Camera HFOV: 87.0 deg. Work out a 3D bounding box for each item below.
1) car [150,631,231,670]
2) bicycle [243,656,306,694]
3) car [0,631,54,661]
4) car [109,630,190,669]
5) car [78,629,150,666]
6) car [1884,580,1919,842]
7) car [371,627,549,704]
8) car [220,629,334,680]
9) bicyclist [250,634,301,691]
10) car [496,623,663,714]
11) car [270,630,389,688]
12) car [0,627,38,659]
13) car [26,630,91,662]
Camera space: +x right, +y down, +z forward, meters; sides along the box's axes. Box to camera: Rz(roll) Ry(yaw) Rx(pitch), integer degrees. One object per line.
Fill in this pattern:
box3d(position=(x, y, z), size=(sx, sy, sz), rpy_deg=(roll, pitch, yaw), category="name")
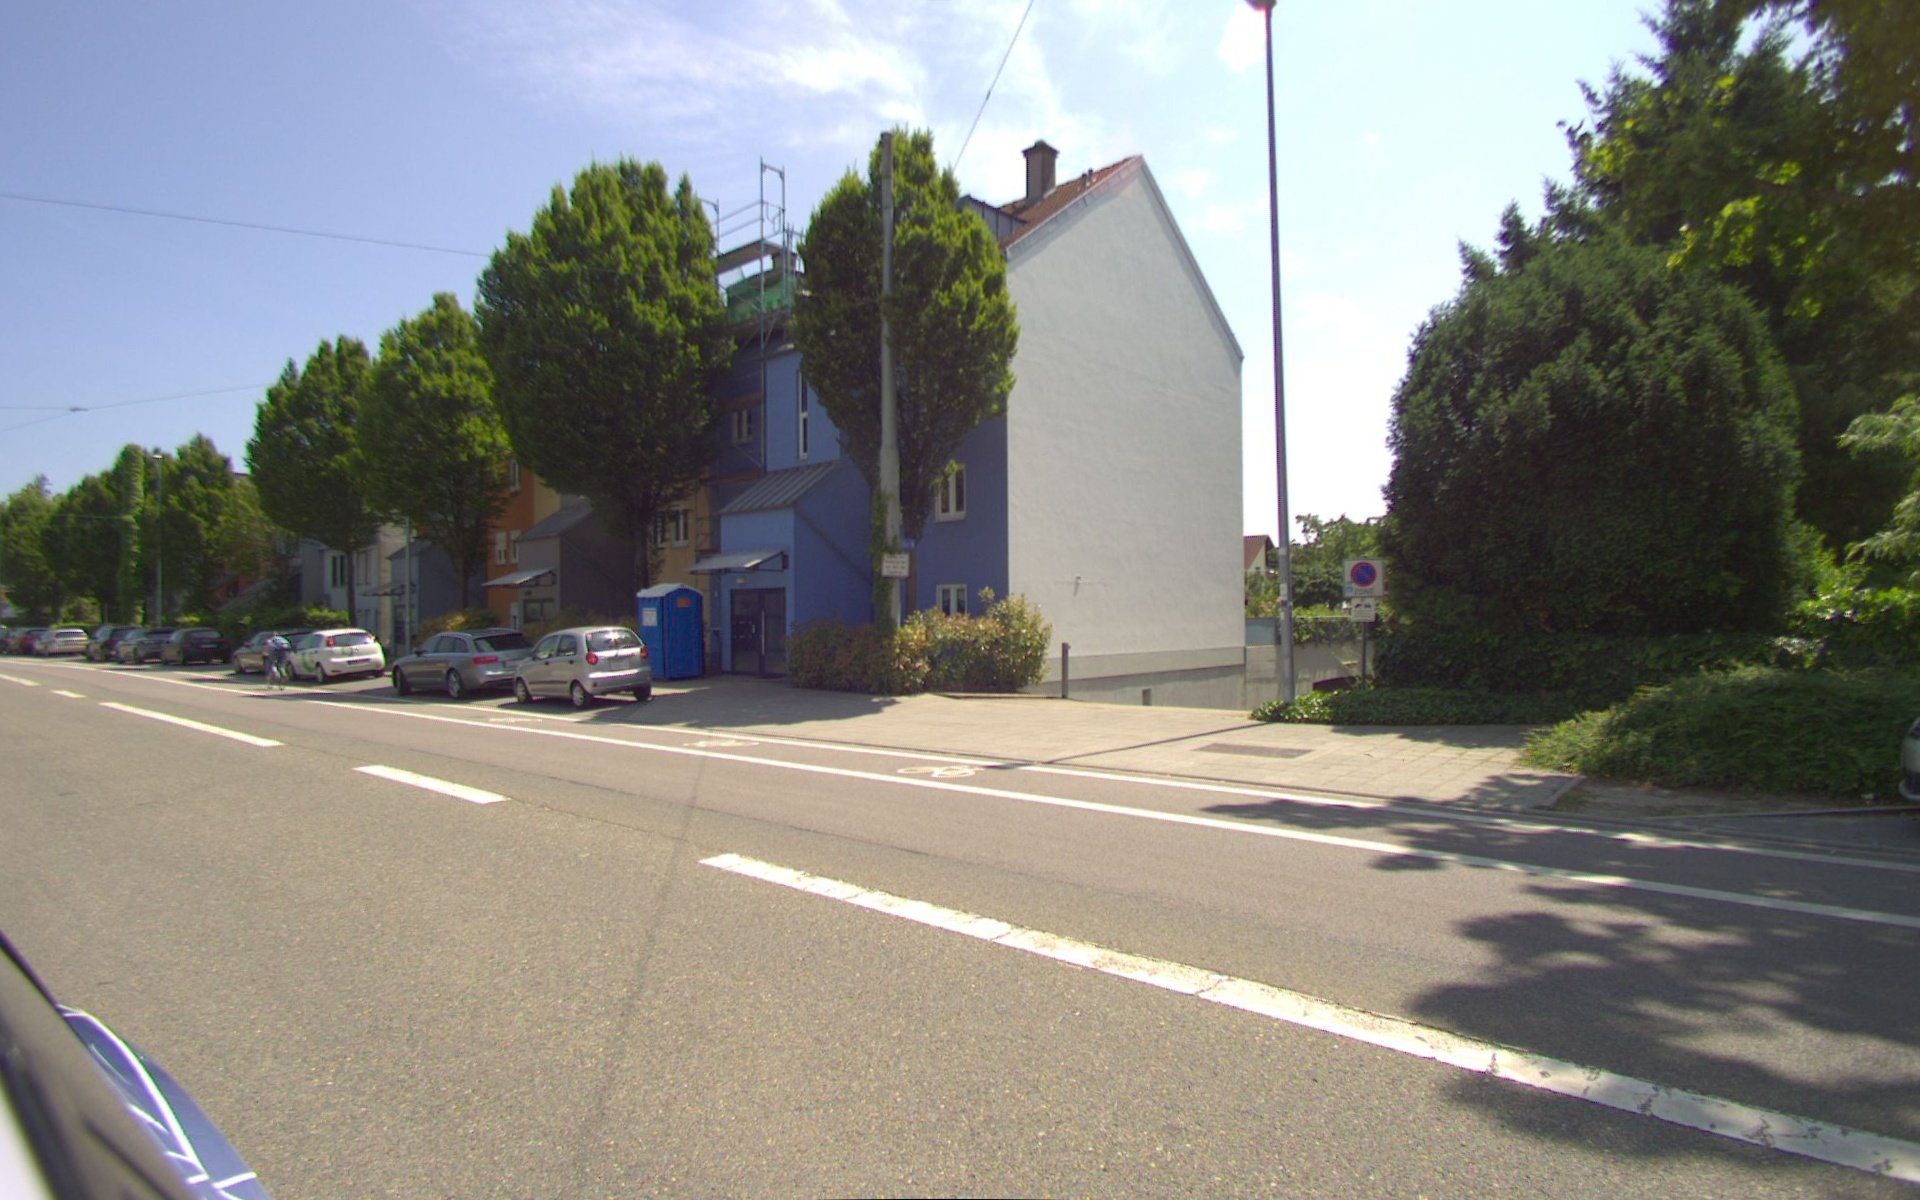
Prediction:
box3d(position=(-31.379, 2.028, 41.216), size=(4.254, 1.443, 1.732), rpy_deg=(-2, 1, 40), category="car")
box3d(position=(-17.857, 1.933, 26.344), size=(2.240, 0.958, 0.695), rpy_deg=(-3, -5, 39), category="bicycle")
box3d(position=(-53.895, 2.657, 58.409), size=(3.673, 1.606, 1.586), rpy_deg=(-2, 0, 35), category="car")
box3d(position=(-35.595, 2.154, 44.414), size=(4.752, 1.507, 1.807), rpy_deg=(-2, 0, 39), category="car")
box3d(position=(-40.167, 2.260, 48.013), size=(4.142, 1.601, 1.750), rpy_deg=(-2, 0, 38), category="car")
box3d(position=(8.488, 0.639, 5.664), size=(4.778, 1.677, 1.853), rpy_deg=(-2, -1, 41), category="car")
box3d(position=(-11.754, 1.491, 23.616), size=(5.129, 1.461, 1.769), rpy_deg=(-3, 2, 40), category="car")
box3d(position=(-22.918, 1.805, 33.901), size=(4.744, 1.440, 1.688), rpy_deg=(-2, 3, 38), category="car")
box3d(position=(-17.818, 1.615, 26.356), size=(1.123, 1.442, 0.728), rpy_deg=(-2, -5, 38), category="bicyclist")
box3d(position=(-7.618, 1.300, 20.143), size=(3.447, 1.506, 1.577), rpy_deg=(-2, 3, 41), category="car")
box3d(position=(-18.957, 1.732, 30.356), size=(4.417, 1.453, 1.729), rpy_deg=(-2, 3, 41), category="car")
box3d(position=(-58.050, 2.602, 61.562), size=(4.548, 1.808, 1.976), rpy_deg=(-2, -1, 36), category="car")
box3d(position=(-49.047, 2.497, 55.030), size=(4.490, 1.594, 1.822), rpy_deg=(-2, 0, 38), category="car")
